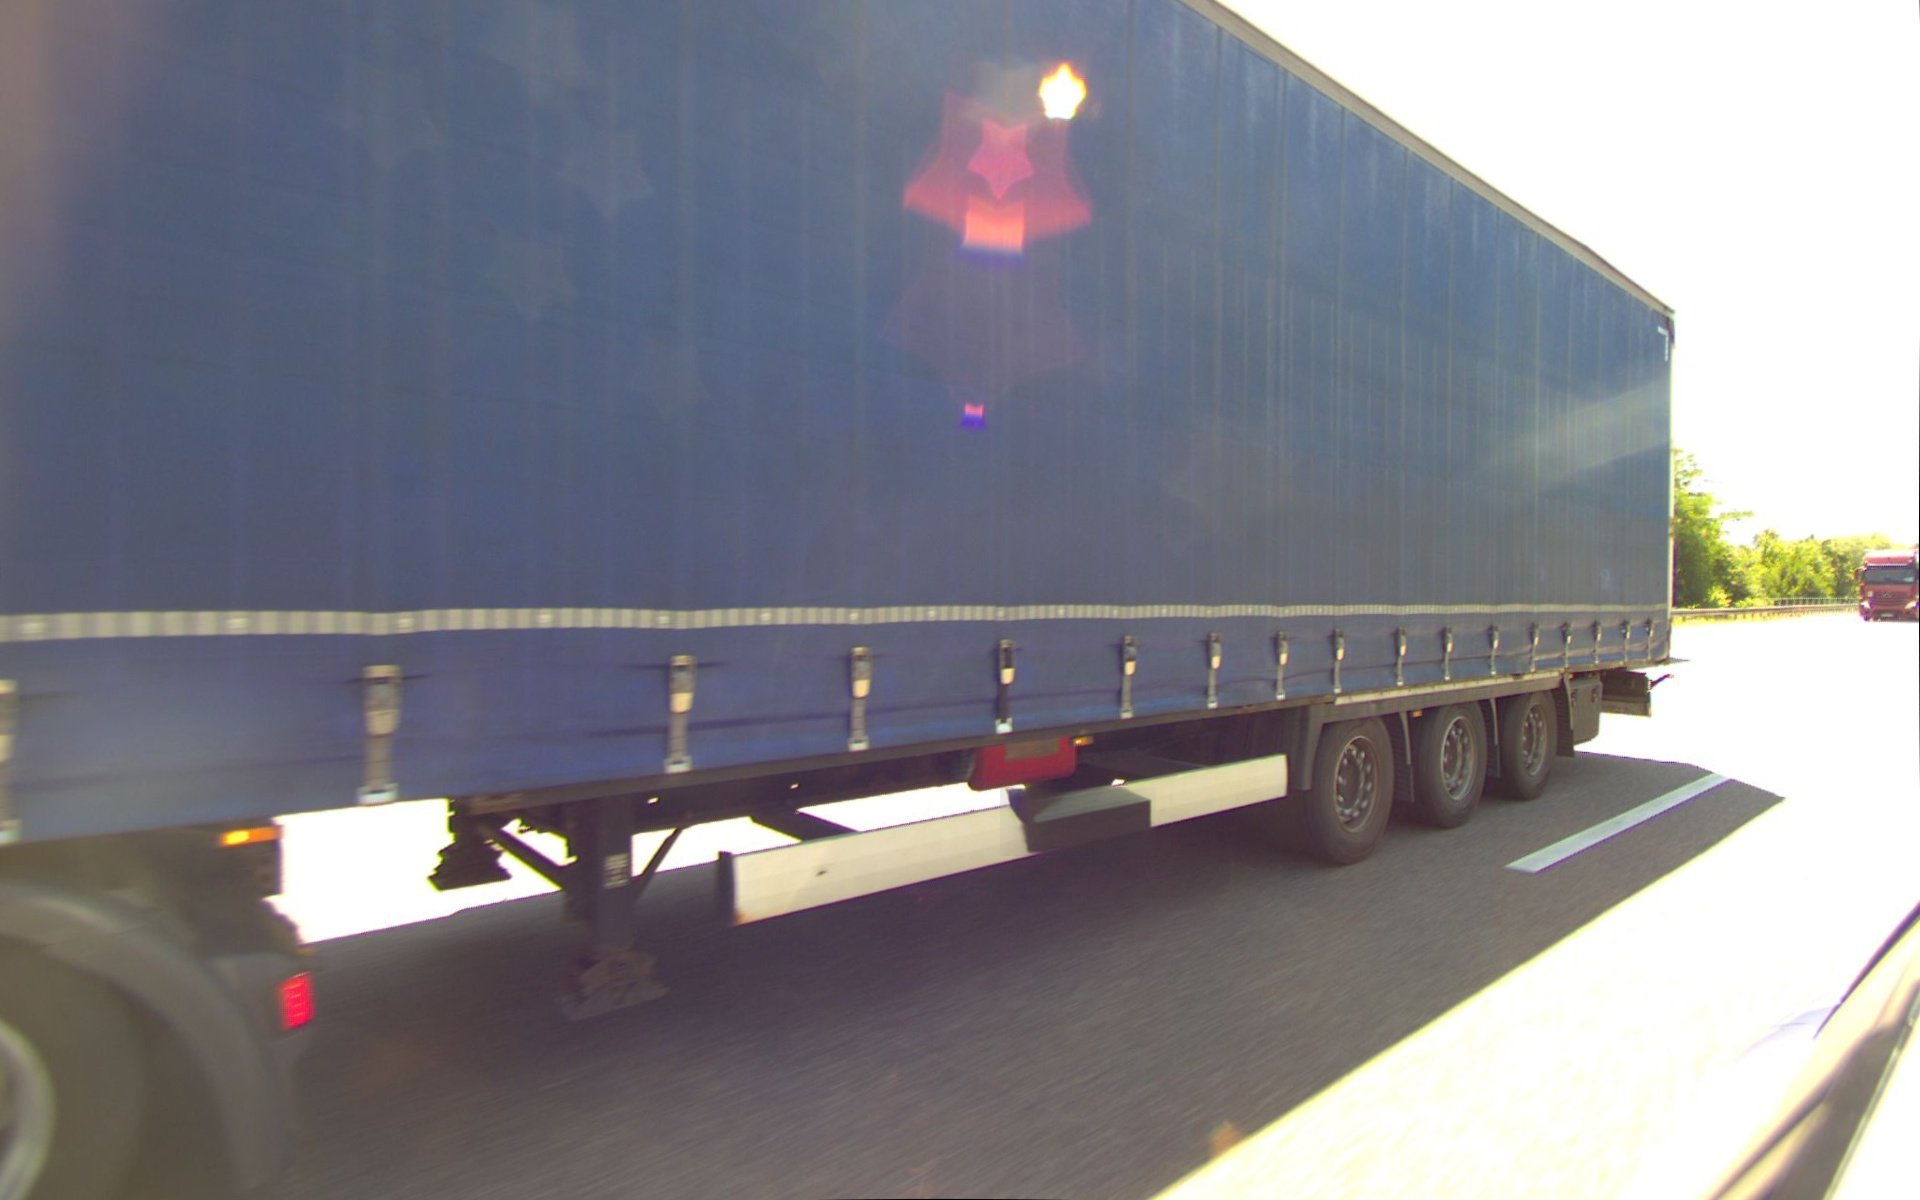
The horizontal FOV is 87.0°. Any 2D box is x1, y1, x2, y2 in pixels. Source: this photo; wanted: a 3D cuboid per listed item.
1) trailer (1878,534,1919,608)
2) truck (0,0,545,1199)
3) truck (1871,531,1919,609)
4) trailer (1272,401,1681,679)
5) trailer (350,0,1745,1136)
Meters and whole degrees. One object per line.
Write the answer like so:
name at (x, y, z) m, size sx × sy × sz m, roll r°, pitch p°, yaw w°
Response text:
trailer at (58.017, -1.686, 60.952) m, size 12.088 × 4.169 × 2.800 m, roll -1°, pitch 1°, yaw -42°
truck at (-4.439, -0.732, 1.152) m, size 6.870 × 4.169 × 2.704 m, roll -1°, pitch 0°, yaw -42°
truck at (54.241, -1.665, 57.574) m, size 7.636 × 4.169 × 2.800 m, roll -1°, pitch 1°, yaw -42°
trailer at (11.101, -0.974, 20.472) m, size 13.009 × 4.169 × 2.705 m, roll -1°, pitch 1°, yaw -41°
trailer at (2.635, -0.847, 7.419) m, size 11.920 × 4.169 × 2.705 m, roll -1°, pitch 1°, yaw -41°
